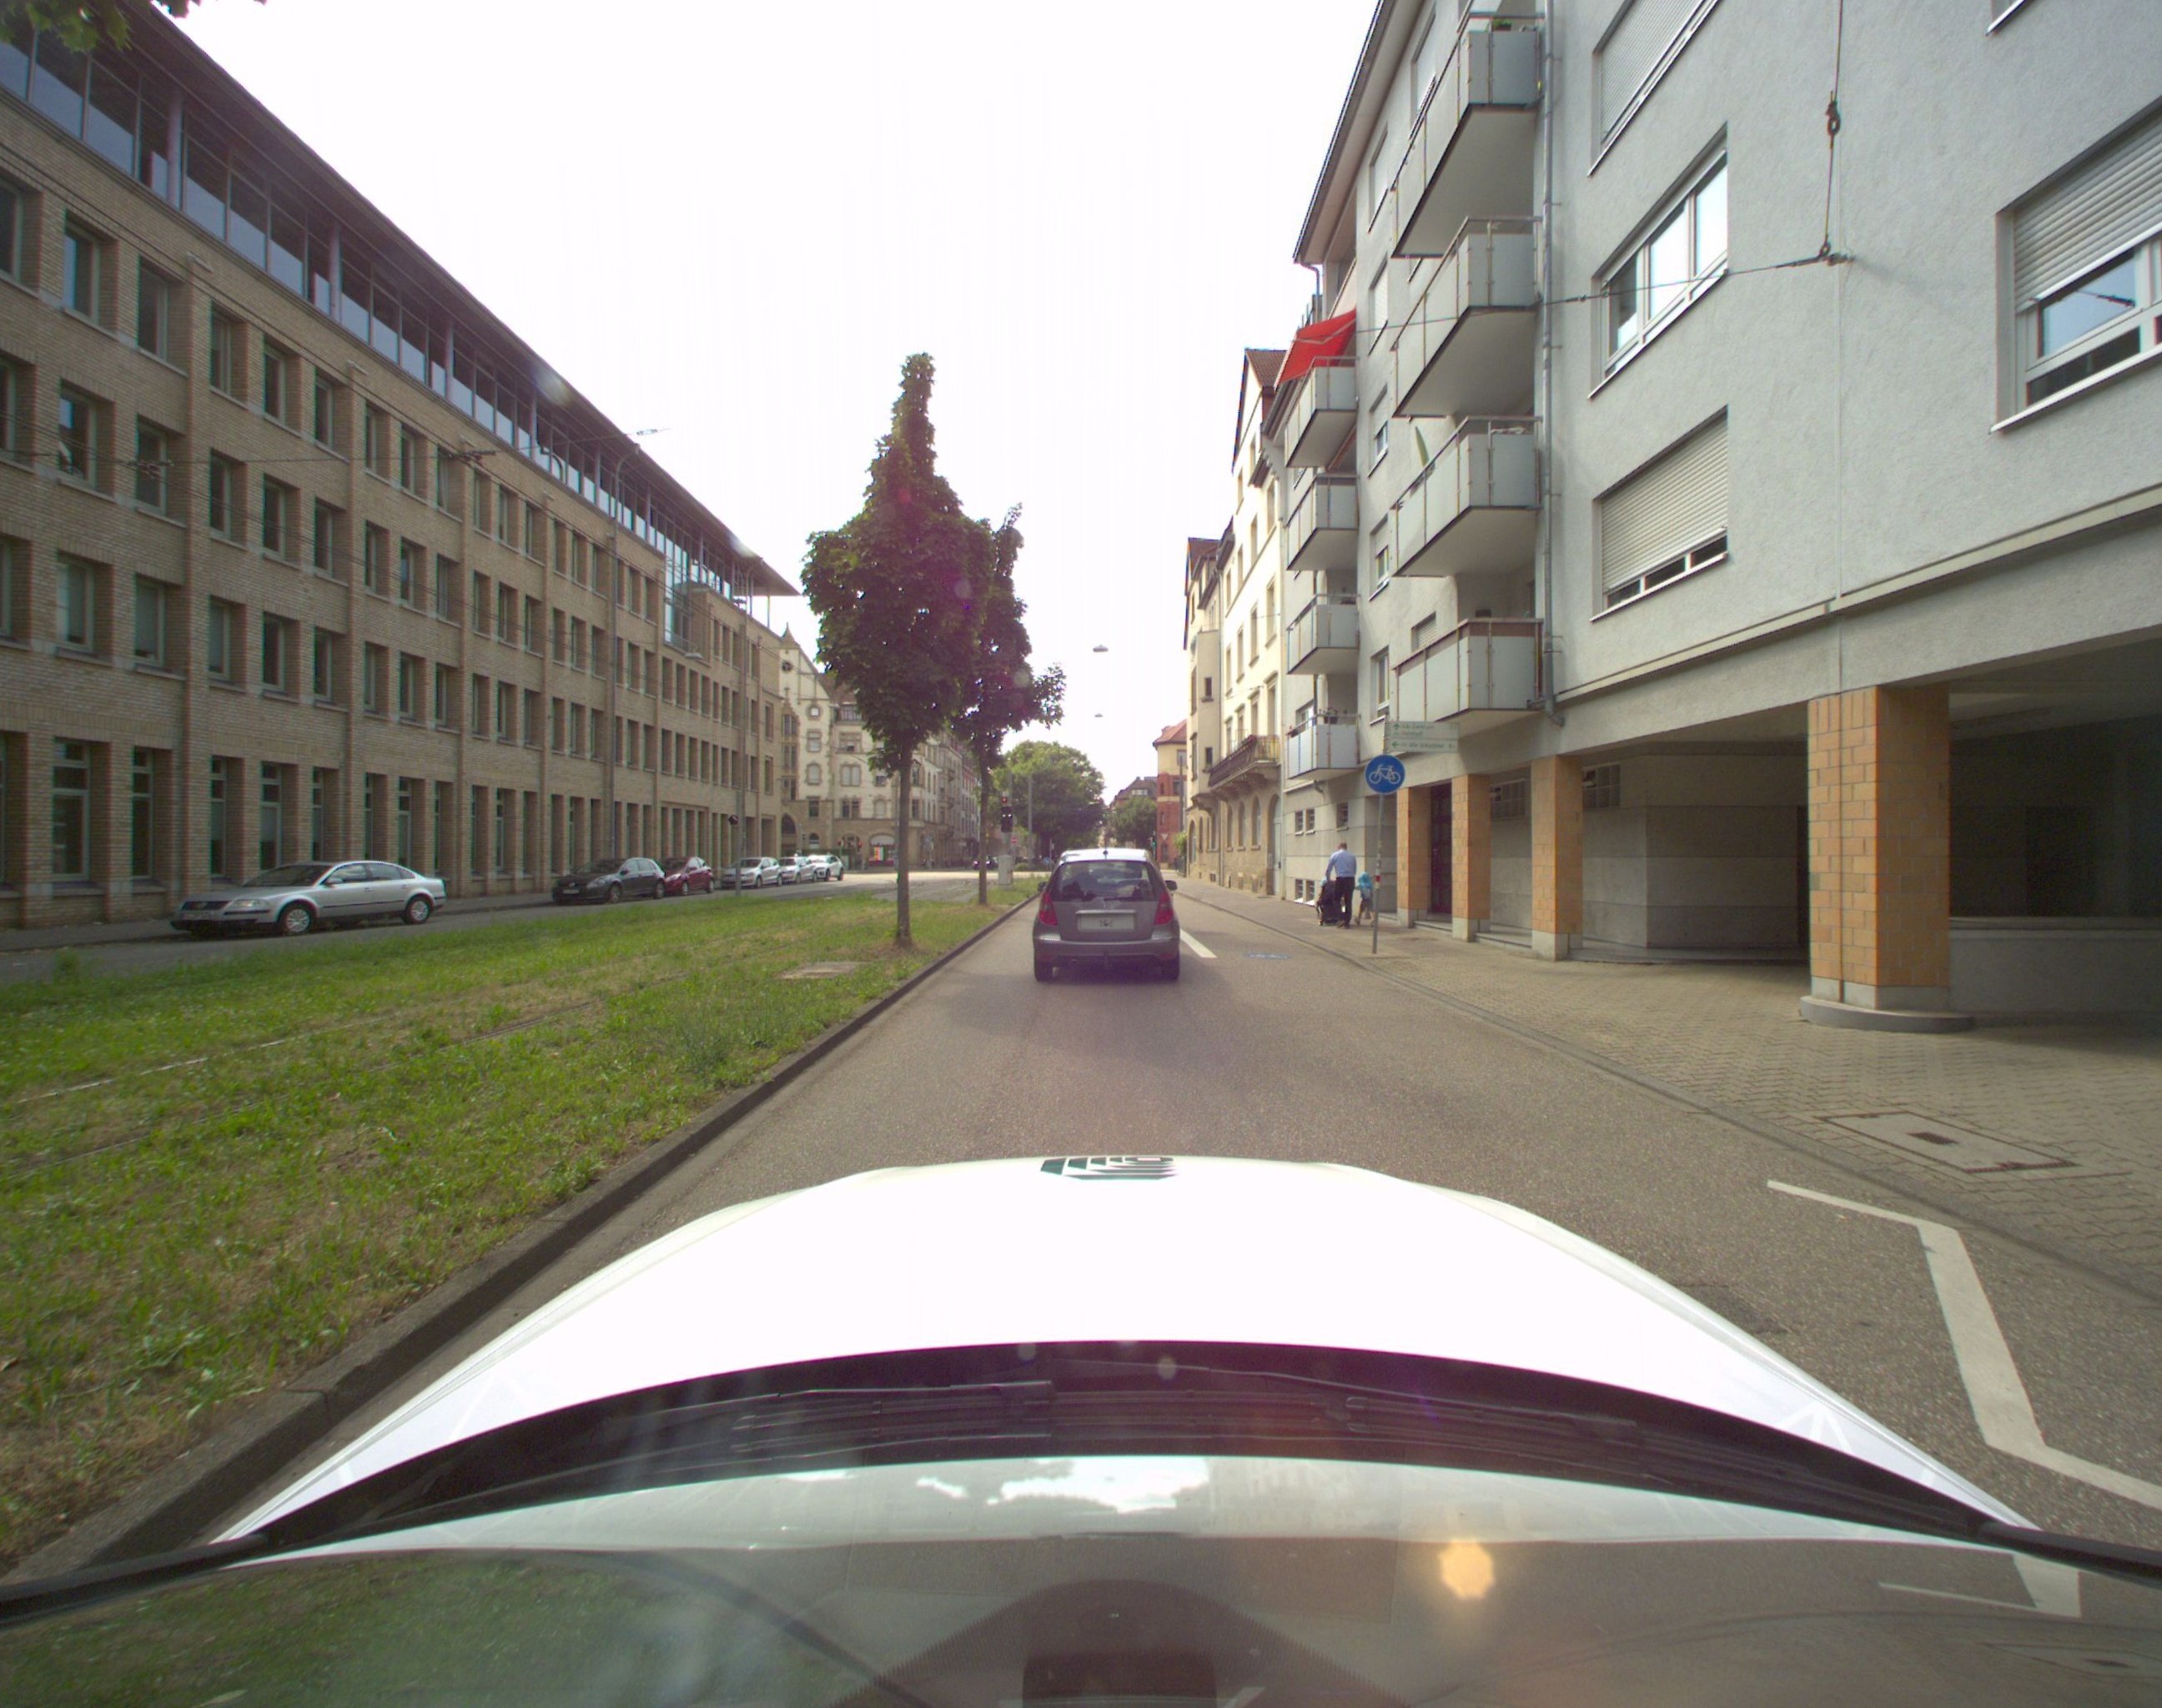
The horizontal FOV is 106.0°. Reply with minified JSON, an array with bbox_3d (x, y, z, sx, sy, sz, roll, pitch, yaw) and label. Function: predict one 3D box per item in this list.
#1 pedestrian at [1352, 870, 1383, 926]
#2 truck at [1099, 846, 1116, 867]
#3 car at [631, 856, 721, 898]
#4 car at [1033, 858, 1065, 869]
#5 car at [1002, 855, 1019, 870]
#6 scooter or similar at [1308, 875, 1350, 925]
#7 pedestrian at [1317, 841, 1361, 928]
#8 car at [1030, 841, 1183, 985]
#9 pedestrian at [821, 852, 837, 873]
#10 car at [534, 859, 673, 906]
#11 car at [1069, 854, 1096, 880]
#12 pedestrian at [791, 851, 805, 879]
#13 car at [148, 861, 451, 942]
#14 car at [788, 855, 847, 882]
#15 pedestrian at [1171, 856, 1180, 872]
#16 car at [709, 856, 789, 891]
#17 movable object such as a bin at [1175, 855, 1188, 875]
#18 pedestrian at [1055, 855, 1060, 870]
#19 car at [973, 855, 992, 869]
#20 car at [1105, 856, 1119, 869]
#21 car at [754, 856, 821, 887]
[{"bbox_3d":[5.993,0.903,17.023,0.454,1.135,0.494,-2,0,1],"label":"pedestrian"},{"bbox_3d":[3.819,0.369,117.031,2.113,2.970,4.005,-1,0,5],"label":"truck"},{"bbox_3d":[-15.404,0.840,31.195,1.577,1.530,3.551,0,0,2],"label":"car"},{"bbox_3d":[-3.925,1.137,98.862,1.984,1.339,3.954,0,0,-38],"label":"car"},{"bbox_3d":[-8.445,1.039,97.621,1.990,1.728,3.994,-1,0,-4],"label":"car"},{"bbox_3d":[5.367,0.979,17.632,0.590,1.002,0.906,-4,0,2],"label":"scooter or similar"},{"bbox_3d":[5.348,0.616,16.887,0.618,1.739,0.877,-1,0,2],"label":"pedestrian"},{"bbox_3d":[0.349,0.680,11.082,1.716,1.605,3.678,-1,0,2],"label":"car"},{"bbox_3d":[-20.864,0.682,67.435,1.029,1.722,0.767,1,-1,-43],"label":"pedestrian"},{"bbox_3d":[-15.393,0.878,26.566,1.925,1.396,4.241,0,0,2],"label":"car"},{"bbox_3d":[0.135,0.851,55.041,1.716,1.706,3.678,-1,0,2],"label":"car"},{"bbox_3d":[-18.383,0.678,52.853,0.763,1.795,0.952,0,-1,-24],"label":"pedestrian"},{"bbox_3d":[-15.465,0.846,16.547,1.708,1.396,4.486,0,0,2],"label":"car"},{"bbox_3d":[-15.230,0.817,47.344,1.925,1.535,4.260,0,0,2],"label":"car"},{"bbox_3d":[9.492,0.994,81.603,0.865,1.656,0.737,0,0,5],"label":"pedestrian"},{"bbox_3d":[-15.271,0.853,37.721,1.844,1.530,4.212,0,0,2],"label":"car"},{"bbox_3d":[7.361,0.817,59.548,0.714,1.472,0.980,-1,-1,-8],"label":"movable object such as a bin"},{"bbox_3d":[-2.735,0.963,94.123,0.492,1.725,0.653,0,-1,-5],"label":"pedestrian"},{"bbox_3d":[-11.624,0.957,96.158,1.990,1.618,3.994,-1,0,-4],"label":"car"},{"bbox_3d":[3.980,1.080,104.070,1.744,1.633,3.504,0,0,5],"label":"car"},{"bbox_3d":[-15.335,0.896,42.730,1.925,1.530,4.016,0,0,2],"label":"car"}]
